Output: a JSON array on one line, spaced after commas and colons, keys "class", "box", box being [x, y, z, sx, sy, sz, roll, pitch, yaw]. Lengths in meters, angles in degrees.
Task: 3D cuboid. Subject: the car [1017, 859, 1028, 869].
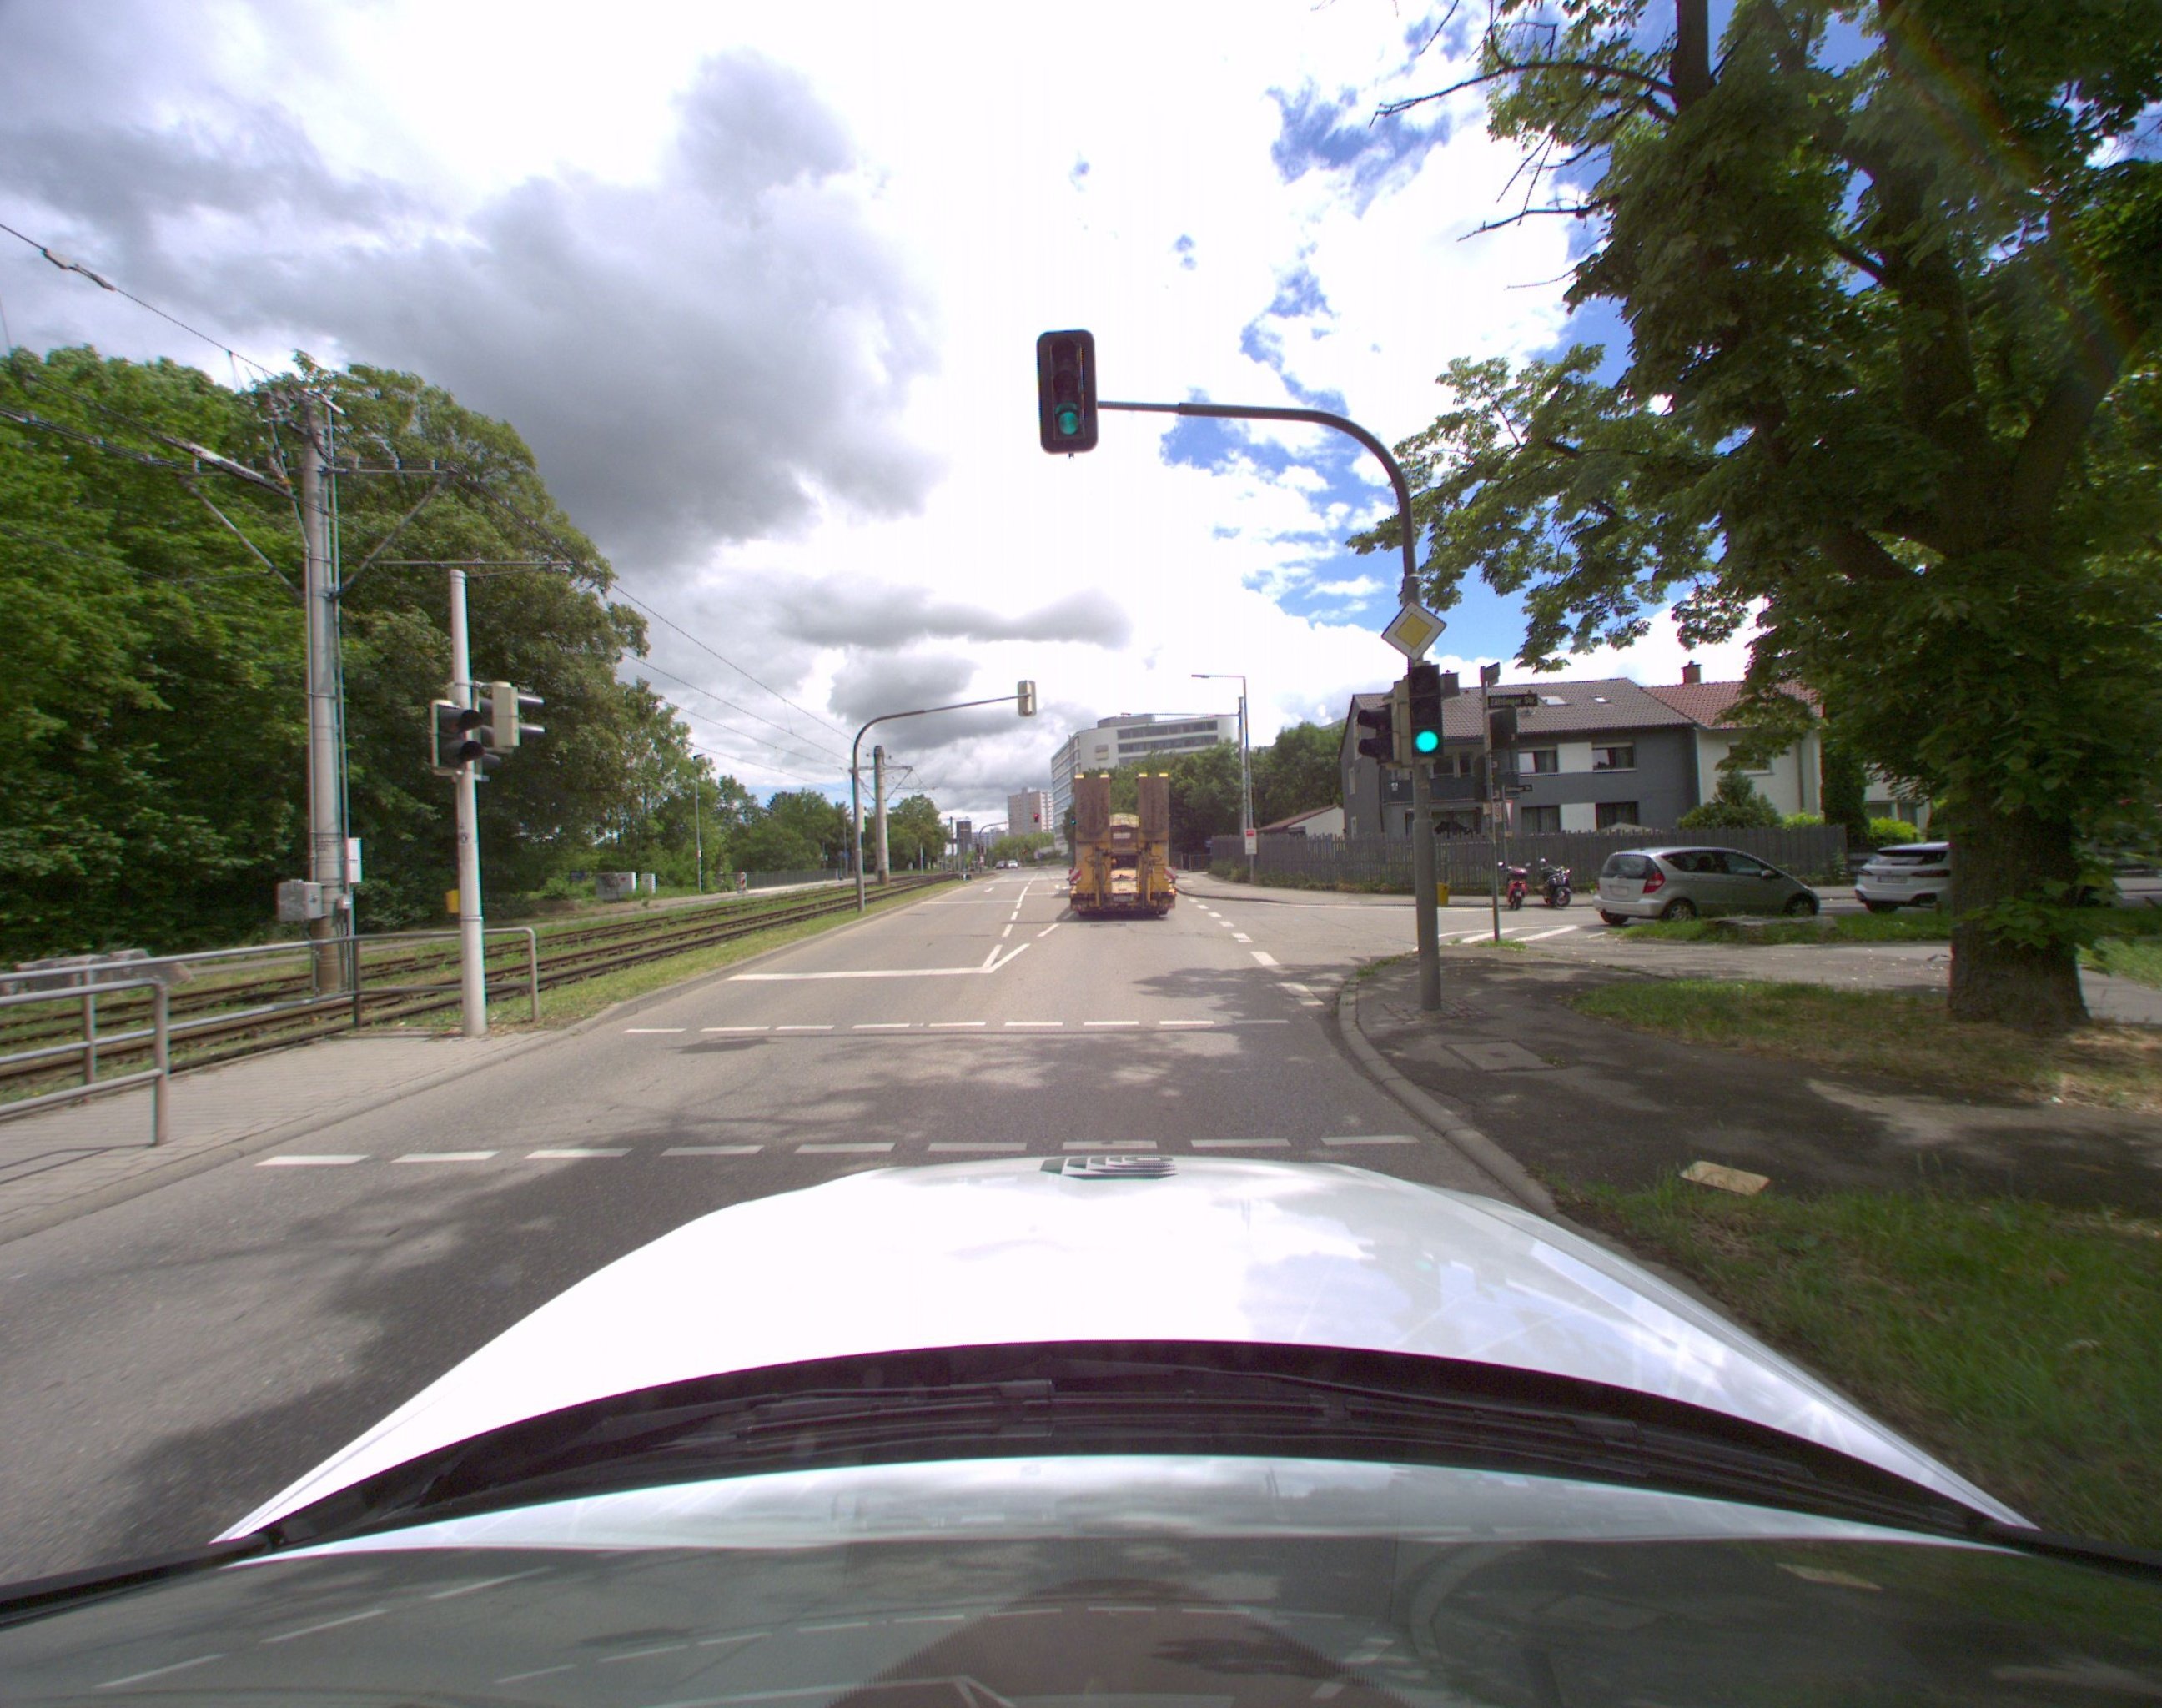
[{"class": "car", "box": [-11.201, 1.862, 155.981, 1.990, 1.926, 3.992, -1, -1, -5]}]

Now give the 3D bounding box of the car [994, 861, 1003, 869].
[{"class": "car", "box": [-16.340, 2.204, 161.080, 1.782, 1.570, 4.335, -3, -1, -6]}]

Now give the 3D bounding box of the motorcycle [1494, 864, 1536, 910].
[{"class": "motorcycle", "box": [11.760, 0.861, 22.122, 0.653, 1.149, 2.436, -1, -1, 20]}]

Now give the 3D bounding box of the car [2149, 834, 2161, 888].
[{"class": "car", "box": [34.830, 0.151, 24.332, 3.941, 1.639, 1.738, -2, -1, -6]}]

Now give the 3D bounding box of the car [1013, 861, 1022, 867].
[{"class": "car", "box": [-14.720, 2.370, 188.828, 1.990, 1.420, 3.992, -1, -1, -5]}]

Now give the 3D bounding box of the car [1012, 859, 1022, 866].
[{"class": "car", "box": [-14.064, 1.858, 178.873, 1.990, 1.420, 3.992, -1, -1, -5]}]

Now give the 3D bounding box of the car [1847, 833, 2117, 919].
[{"class": "car", "box": [18.525, 0.413, 16.838, 4.000, 1.563, 1.778, -2, 1, -7]}]

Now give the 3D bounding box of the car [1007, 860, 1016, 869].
[{"class": "car", "box": [-12.596, 1.942, 147.477, 1.590, 1.527, 3.650, -3, -1, -4]}]

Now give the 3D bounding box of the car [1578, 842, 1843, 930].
[{"class": "car", "box": [12.516, 0.587, 16.340, 3.983, 1.554, 1.935, -1, 0, -7]}]

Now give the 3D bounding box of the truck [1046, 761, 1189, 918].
[{"class": "truck", "box": [0.877, -0.272, 25.519, 3.305, 3.651, 12.559, -1, -1, 0]}]

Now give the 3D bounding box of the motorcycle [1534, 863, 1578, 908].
[{"class": "motorcycle", "box": [12.931, 0.835, 22.203, 0.653, 1.149, 2.003, -1, -1, 20]}]
